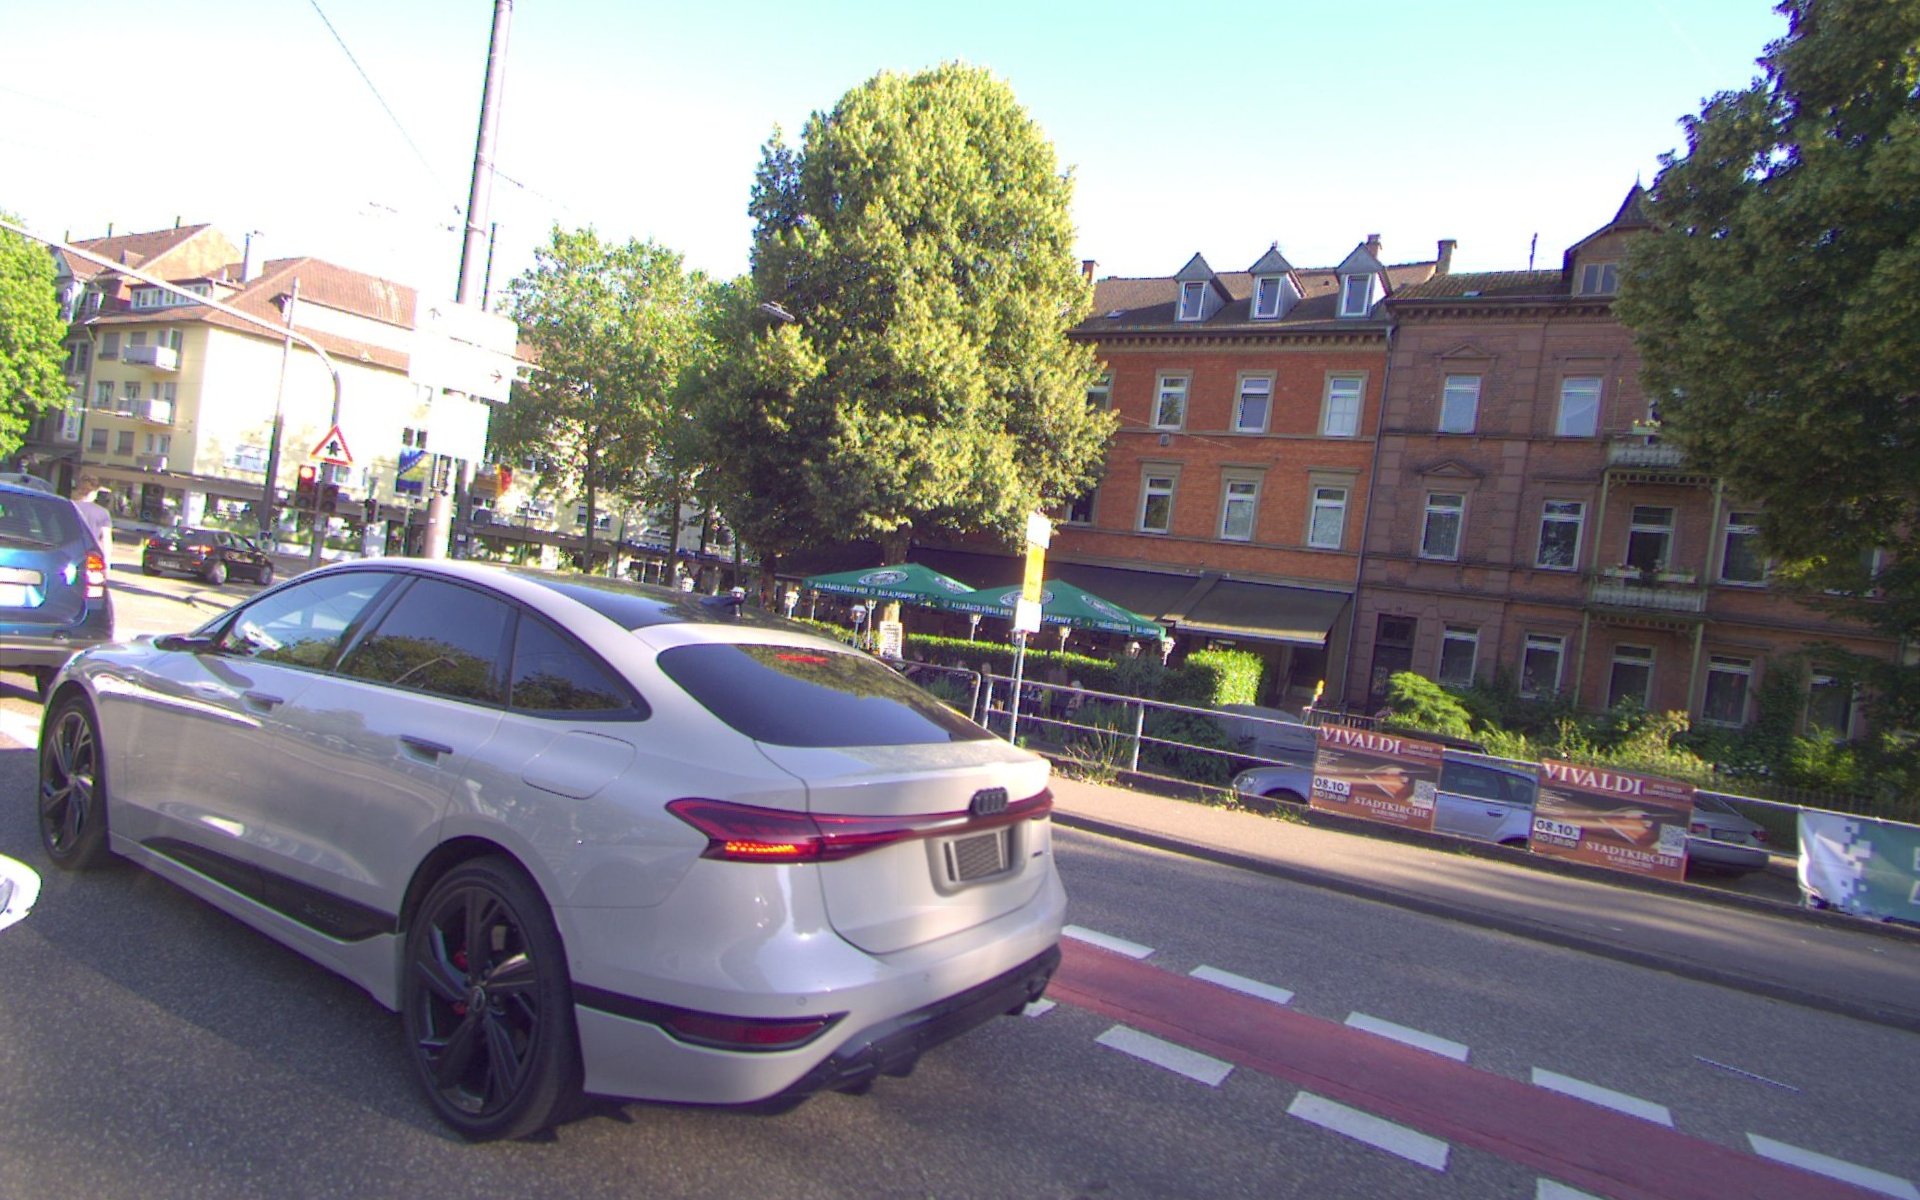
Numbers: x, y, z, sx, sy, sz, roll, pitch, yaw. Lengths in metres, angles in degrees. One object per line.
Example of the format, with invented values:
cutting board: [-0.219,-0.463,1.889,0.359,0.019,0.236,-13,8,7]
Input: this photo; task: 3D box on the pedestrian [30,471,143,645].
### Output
pedestrian: [-10.072,-0.476,11.607,0.666,1.893,0.658,7,0,31]

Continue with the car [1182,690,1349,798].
car: [6.032,2.821,20.417,1.748,1.365,3.996,7,0,-5]

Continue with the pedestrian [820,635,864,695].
pedestrian: [-2.919,1.607,24.920,0.621,1.352,0.650,7,-3,32]

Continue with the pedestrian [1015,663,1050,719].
pedestrian: [1.807,2.273,25.127,0.604,1.275,0.633,8,-2,14]

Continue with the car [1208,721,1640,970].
car: [5.466,2.742,12.181,4.285,1.920,1.799,6,-2,30]

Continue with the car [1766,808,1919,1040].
car: [10.485,3.323,9.402,4.136,1.823,1.800,6,-2,25]

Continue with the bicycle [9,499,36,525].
bicycle: [-47.682,-4.476,51.144,1.772,1.121,0.609,7,0,37]

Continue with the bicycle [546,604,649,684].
bicycle: [-5.987,0.716,16.567,1.770,1.087,0.499,6,-2,32]

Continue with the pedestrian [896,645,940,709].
pedestrian: [-0.994,1.797,23.538,0.643,1.352,0.628,10,-3,-28]

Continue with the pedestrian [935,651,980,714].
pedestrian: [-0.049,1.910,23.321,0.621,1.352,0.650,7,-3,32]

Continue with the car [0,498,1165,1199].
car: [-1.849,0.608,4.117,4.774,1.490,1.932,7,-1,32]

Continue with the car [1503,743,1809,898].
car: [11.386,3.547,16.921,1.929,1.424,4.246,8,0,-3]

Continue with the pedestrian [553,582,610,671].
pedestrian: [-7.261,0.503,19.300,0.646,1.580,0.625,10,-3,-39]

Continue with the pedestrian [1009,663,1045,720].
pedestrian: [1.636,2.221,24.454,0.604,1.275,0.633,8,-2,14]

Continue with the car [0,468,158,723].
car: [-8.001,-0.234,7.487,3.978,1.657,1.803,7,-1,31]

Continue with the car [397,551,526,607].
car: [-18.709,-0.744,37.926,1.768,1.528,3.998,8,-1,26]

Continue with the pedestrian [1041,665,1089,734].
pedestrian: [2.243,2.126,21.498,0.621,1.352,0.650,7,-3,32]

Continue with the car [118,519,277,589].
car: [-20.416,-1.166,27.155,1.778,1.455,4.035,9,-1,-13]

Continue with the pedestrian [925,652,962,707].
pedestrian: [-0.401,1.984,25.092,0.604,1.275,0.633,8,-2,14]

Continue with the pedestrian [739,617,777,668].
pedestrian: [-5.796,1.218,28.906,0.621,1.352,0.650,7,-3,32]

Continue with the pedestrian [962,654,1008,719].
pedestrian: [0.566,1.965,22.766,0.621,1.352,0.650,7,-3,32]

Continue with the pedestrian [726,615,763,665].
pedestrian: [-6.358,1.181,29.709,0.621,1.352,0.650,7,-3,32]

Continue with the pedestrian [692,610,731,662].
pedestrian: [-7.078,1.039,28.623,0.621,1.352,0.650,7,-3,32]

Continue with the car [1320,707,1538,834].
car: [8.732,3.141,19.172,1.769,1.498,3.994,7,0,-7]
